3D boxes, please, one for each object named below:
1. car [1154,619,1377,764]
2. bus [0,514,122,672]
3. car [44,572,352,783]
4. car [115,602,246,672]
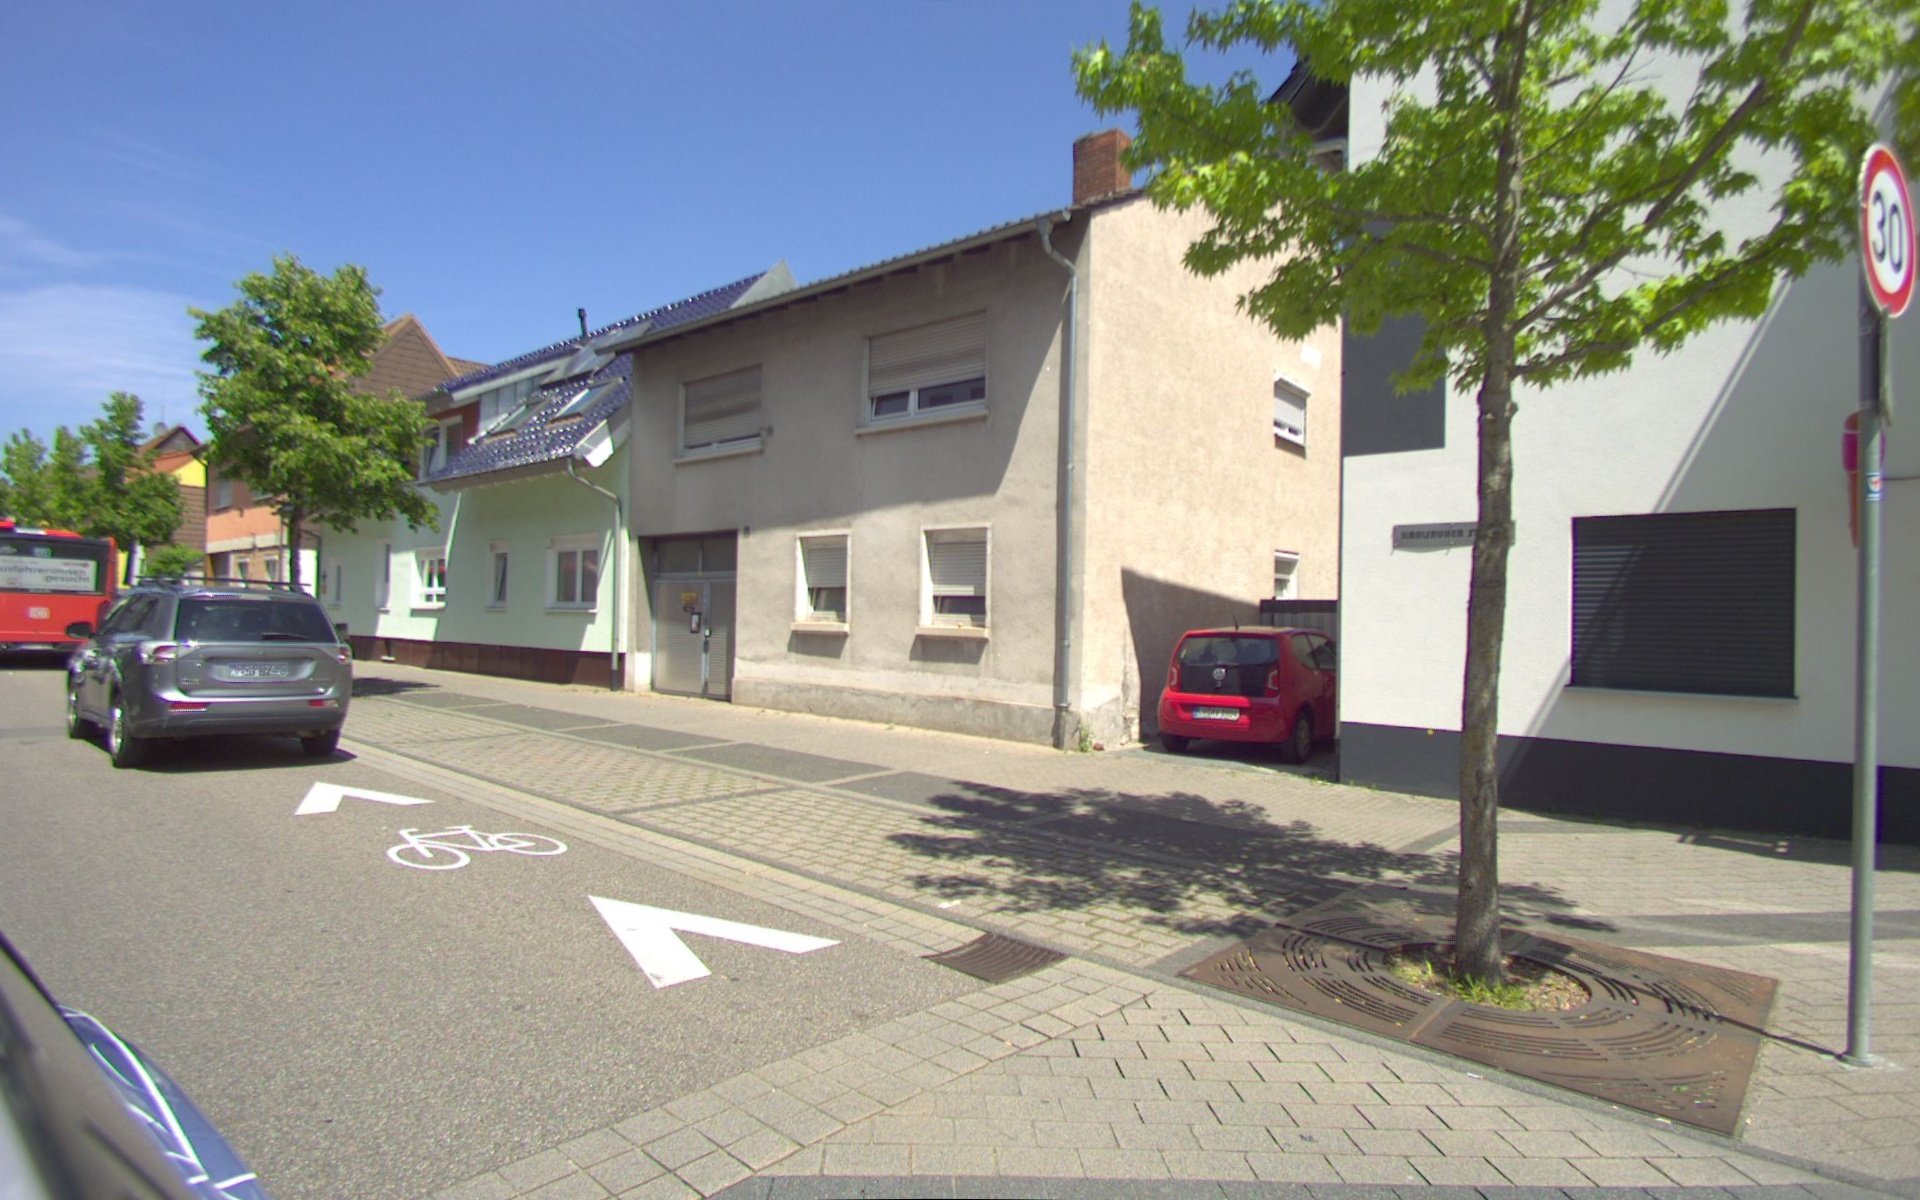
[{"bbox_3d":[3.719,0.990,12.027,1.584,1.454,3.085,0,-2,37],"label":"car"},{"bbox_3d":[-25.538,-0.128,26.702,17.803,3.147,2.640,0,-4,42],"label":"bus"},{"bbox_3d":[-7.896,0.658,10.332,4.230,1.729,1.657,0,-2,41],"label":"car"},{"bbox_3d":[-18.122,0.799,23.455,4.460,1.447,1.701,0,-1,43],"label":"car"}]
